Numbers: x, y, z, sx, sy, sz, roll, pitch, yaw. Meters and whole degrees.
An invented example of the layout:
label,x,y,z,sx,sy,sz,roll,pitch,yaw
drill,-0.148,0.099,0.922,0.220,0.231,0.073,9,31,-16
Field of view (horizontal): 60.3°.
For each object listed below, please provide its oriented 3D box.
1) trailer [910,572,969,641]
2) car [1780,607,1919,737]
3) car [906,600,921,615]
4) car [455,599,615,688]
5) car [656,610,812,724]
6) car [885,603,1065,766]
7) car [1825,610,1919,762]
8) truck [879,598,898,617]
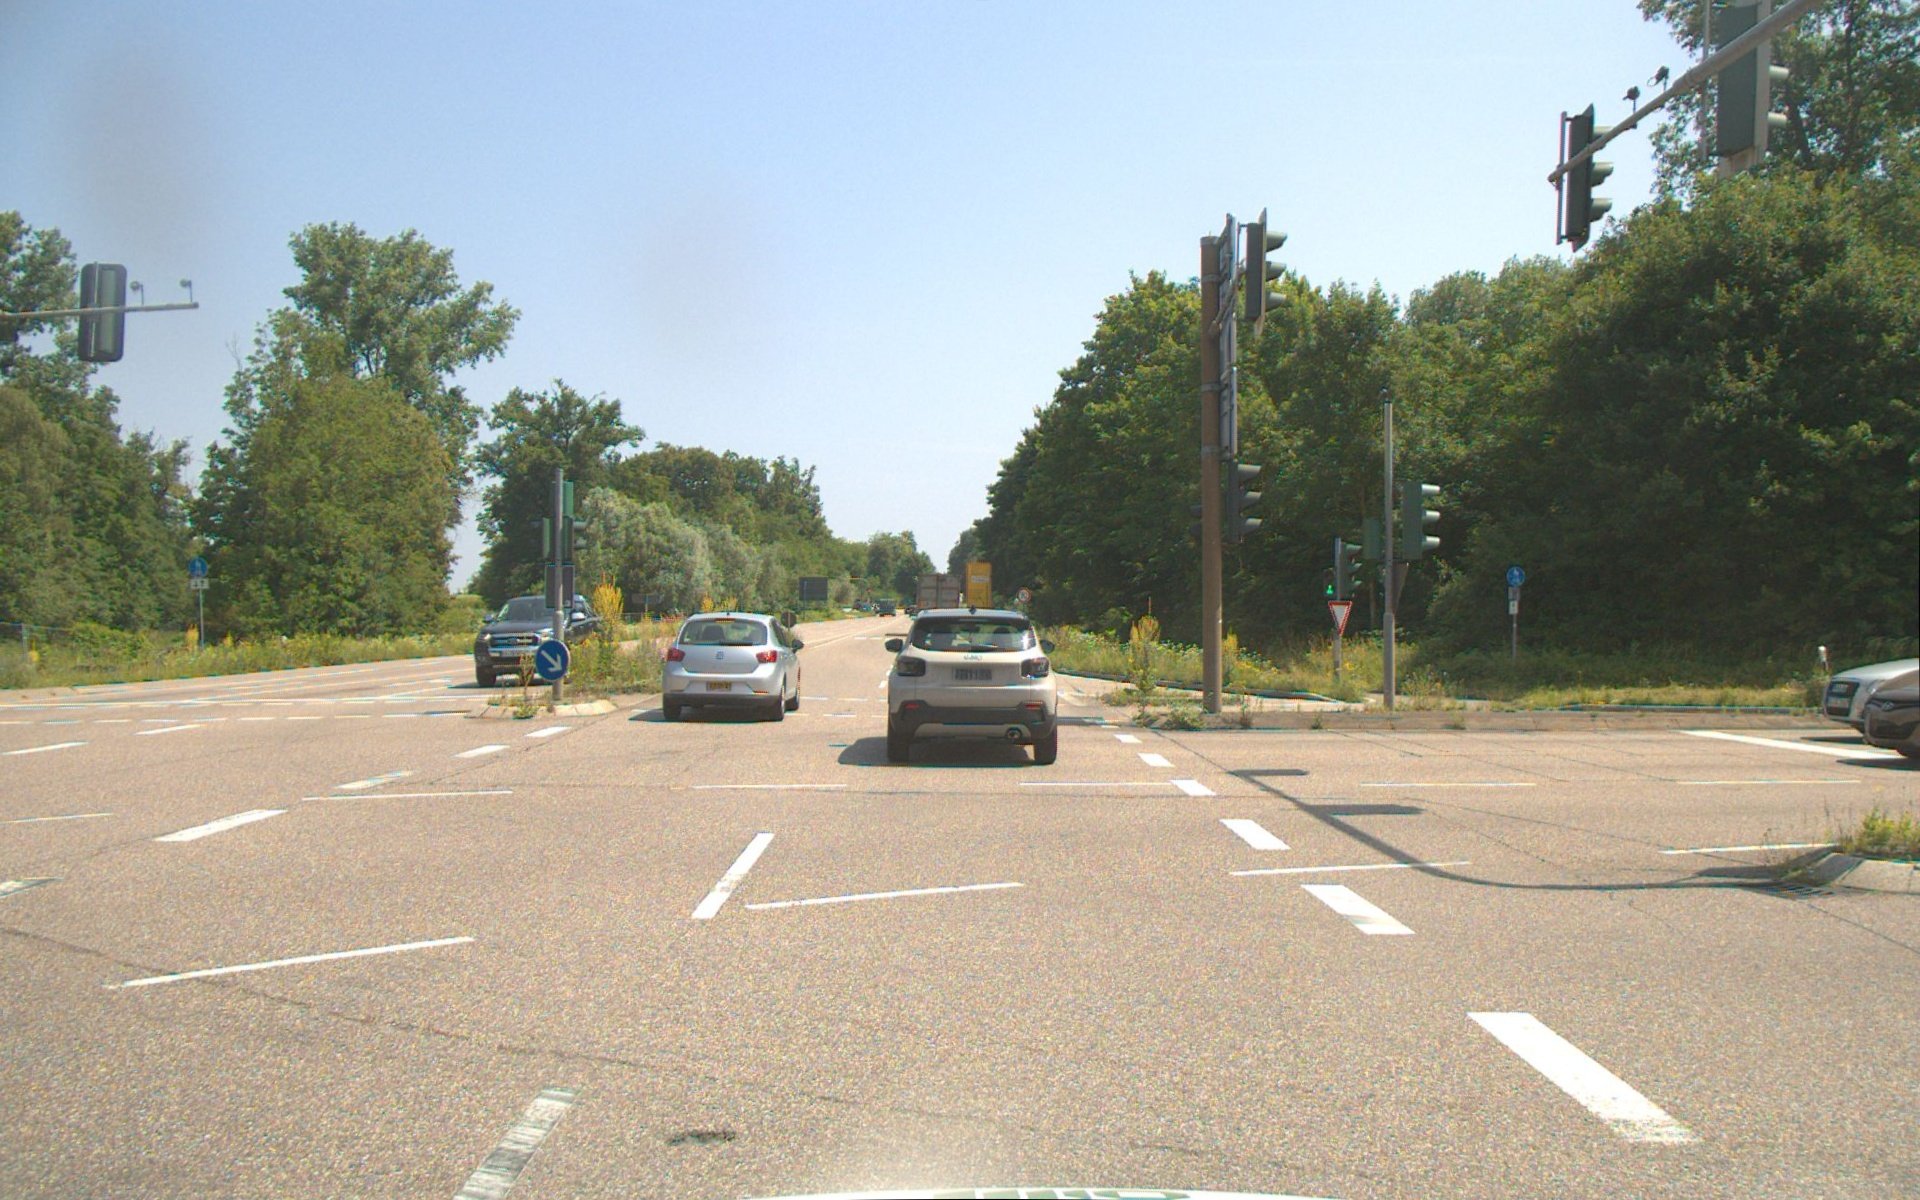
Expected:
label,x,y,z,sx,sy,sz,roll,pitch,yaw
trailer,-1.192,0.464,103.619,3.313,4.059,10.804,1,-1,1
car,13.026,0.853,20.393,4.830,1.525,2.020,0,-1,0
car,-6.395,1.020,227.124,1.953,2.049,4.553,-1,0,-1
car,-8.881,0.866,35.061,1.953,1.707,5.365,-1,0,0
car,-3.124,0.891,23.530,1.631,1.455,3.828,1,0,0
car,0.157,0.836,18.099,1.731,1.562,4.000,1,0,0
car,11.297,0.821,16.787,4.010,1.472,1.994,-1,0,-3
truck,-10.441,1.094,242.768,2.404,2.703,6.490,-3,0,0
